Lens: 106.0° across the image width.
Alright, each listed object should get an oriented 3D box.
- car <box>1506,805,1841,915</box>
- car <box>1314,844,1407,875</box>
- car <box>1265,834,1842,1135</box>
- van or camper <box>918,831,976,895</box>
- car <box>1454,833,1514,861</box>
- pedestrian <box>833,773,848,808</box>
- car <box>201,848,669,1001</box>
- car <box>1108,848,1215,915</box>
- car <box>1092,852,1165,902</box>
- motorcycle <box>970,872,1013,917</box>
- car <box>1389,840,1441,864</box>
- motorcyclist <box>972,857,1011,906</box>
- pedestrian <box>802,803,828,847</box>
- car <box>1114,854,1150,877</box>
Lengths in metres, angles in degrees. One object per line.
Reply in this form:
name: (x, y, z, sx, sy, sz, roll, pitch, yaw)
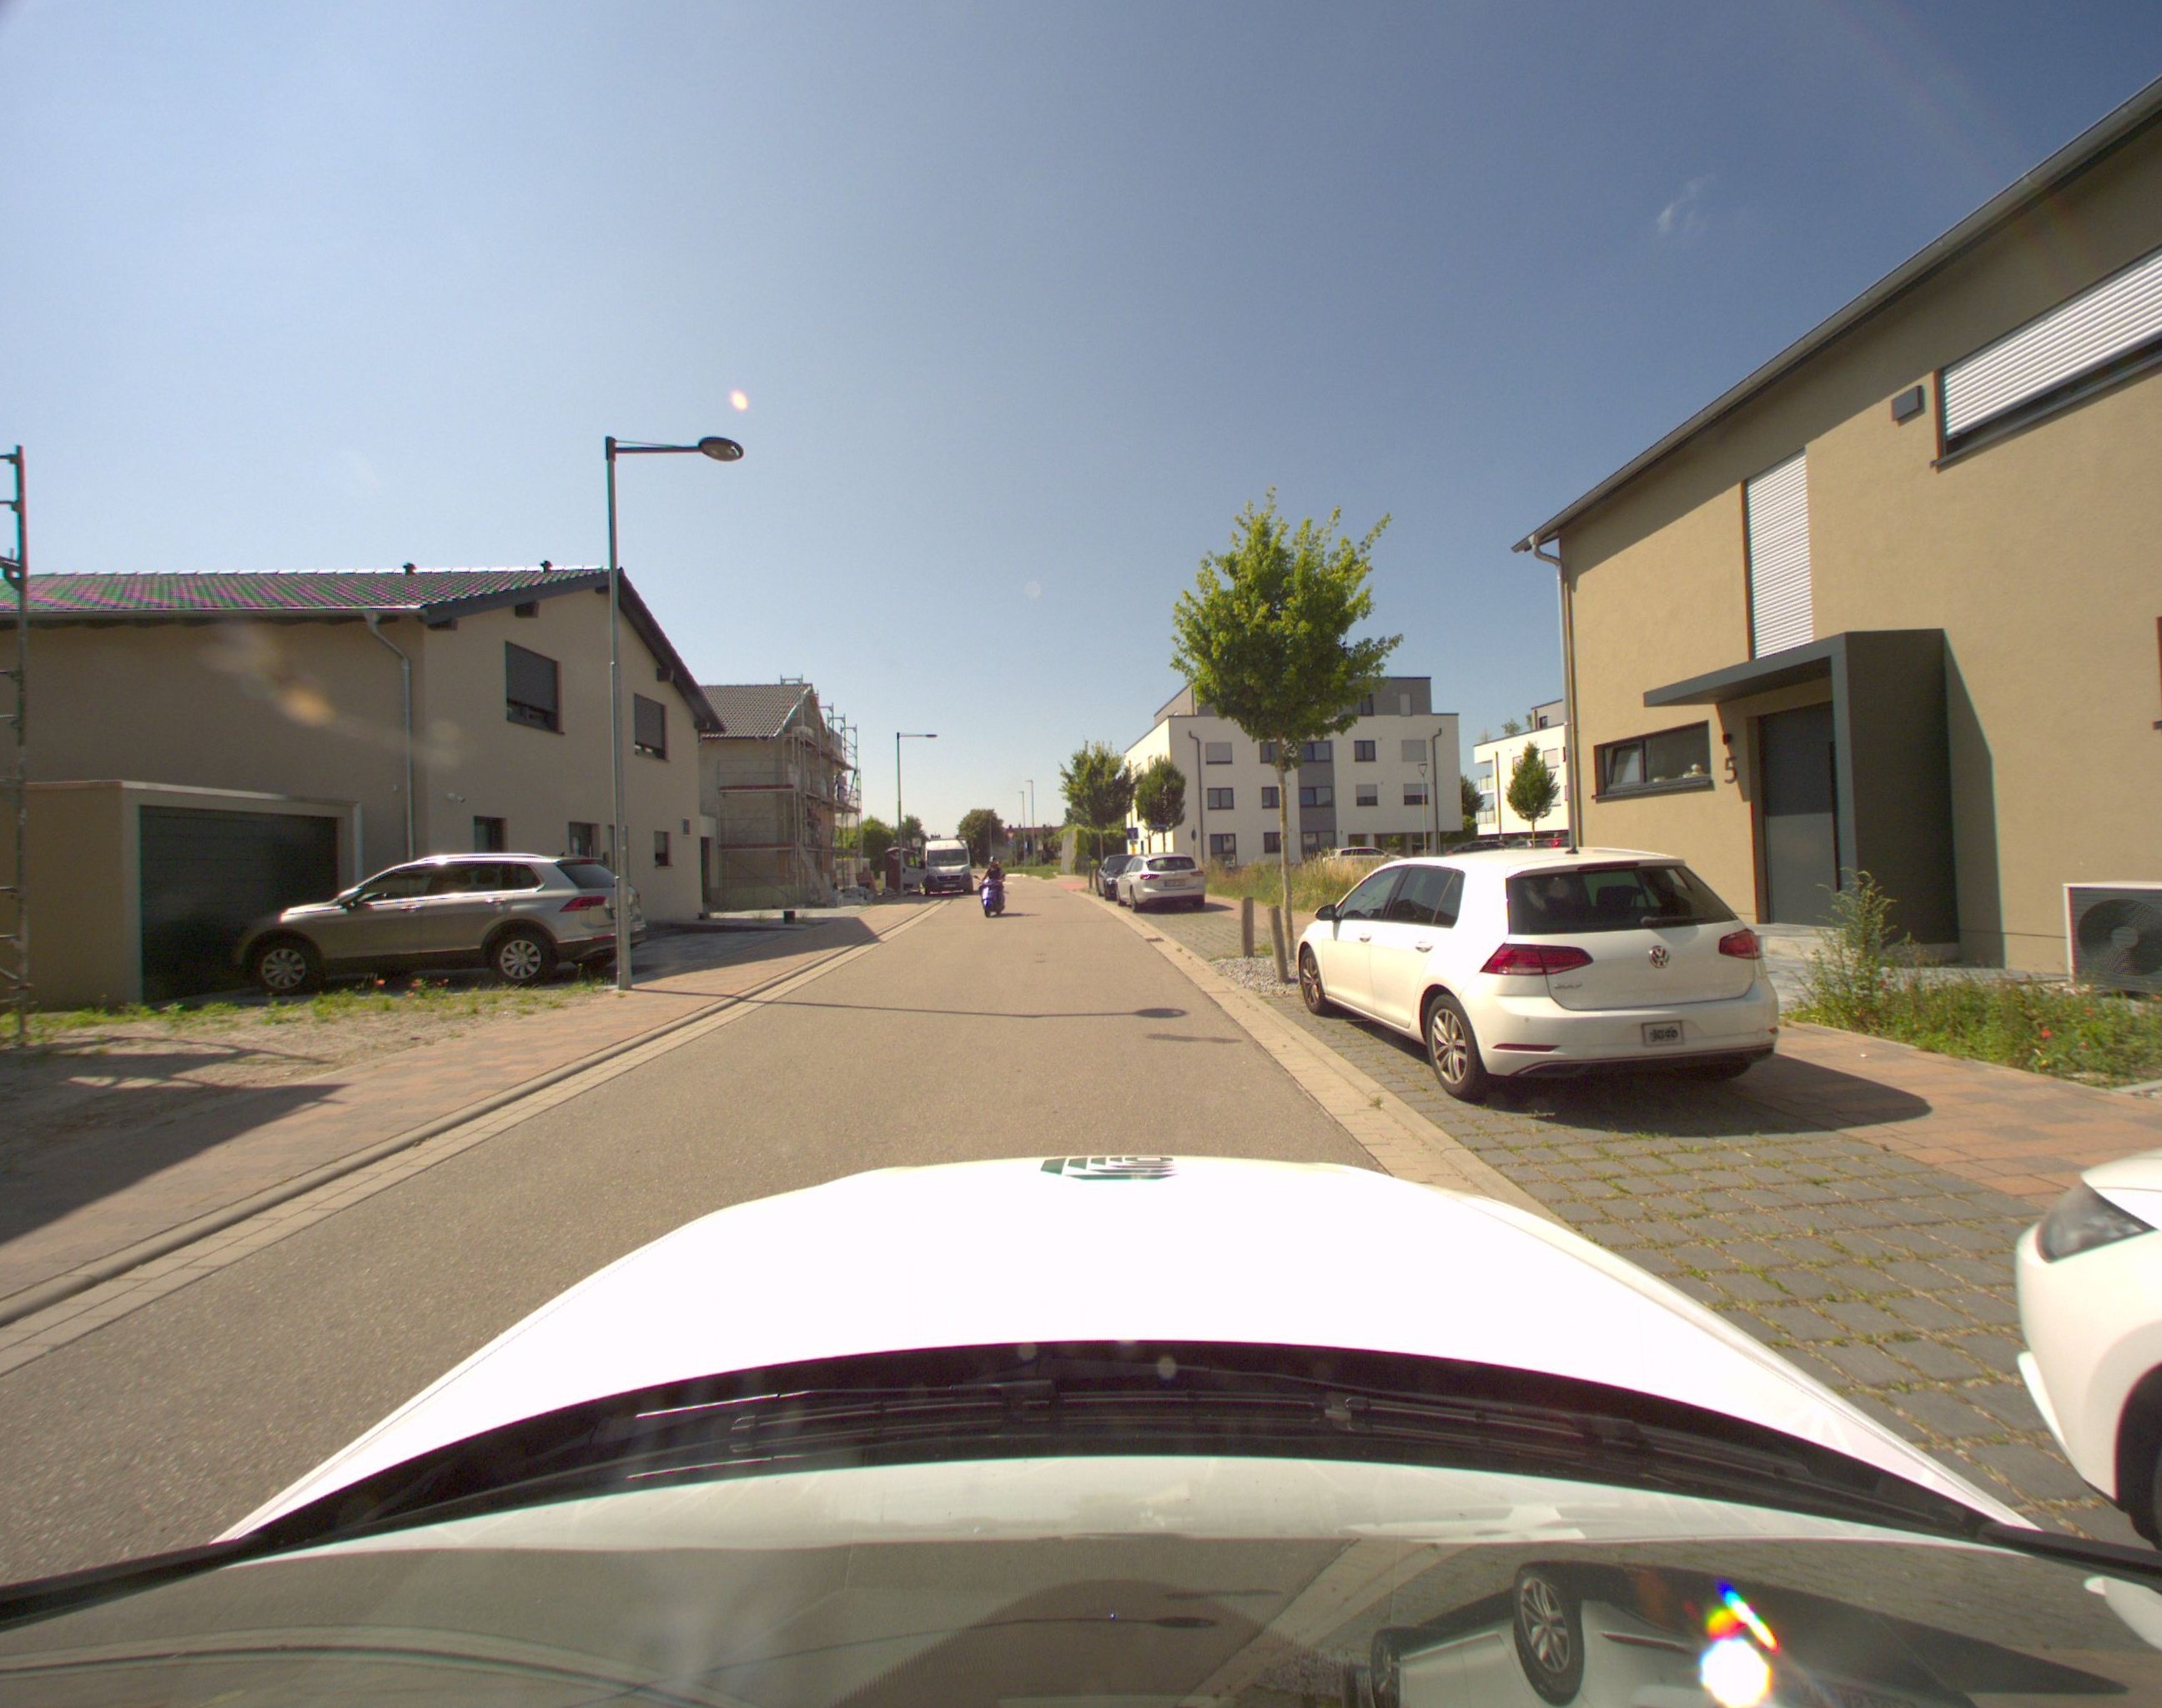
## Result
car: (10.672, 0.117, 14.899, 4.736, 1.644, 1.997, -3, -1, -4)
car: (14.604, 0.302, 42.643, 4.154, 1.435, 1.878, -2, -1, -7)
car: (2.946, 0.649, 6.428, 1.775, 1.426, 4.511, -3, 0, -2)
van or camper: (-6.144, 0.426, 36.835, 2.274, 2.553, 6.342, -2, -1, -11)
car: (28.634, -0.459, 57.964, 1.874, 1.810, 4.163, -2, -1, -6)
pedestrian: (-11.151, -2.948, 37.796, 0.562, 1.500, 0.745, -2, -3, -13)
car: (-8.241, 0.837, 10.824, 4.418, 1.612, 1.996, -2, 0, -5)
car: (2.047, 0.665, 22.379, 1.915, 1.511, 5.285, -3, 0, -5)
car: (1.553, 0.707, 28.418, 1.914, 1.469, 5.134, -3, 0, -3)
motorcycle: (-2.367, 1.064, 21.924, 0.953, 1.035, 2.434, -2, 0, -3)
car: (23.787, -0.116, 58.083, 1.874, 1.503, 3.671, -2, -1, -6)
motorcyclist: (-2.372, 0.728, 21.700, 0.922, 1.222, 0.803, -2, 0, -3)
pedestrian: (-10.439, -1.120, 31.942, 0.571, 1.680, 0.753, -5, -3, 43)
car: (3.383, 0.721, 55.056, 1.676, 1.469, 4.105, -1, 0, -8)
